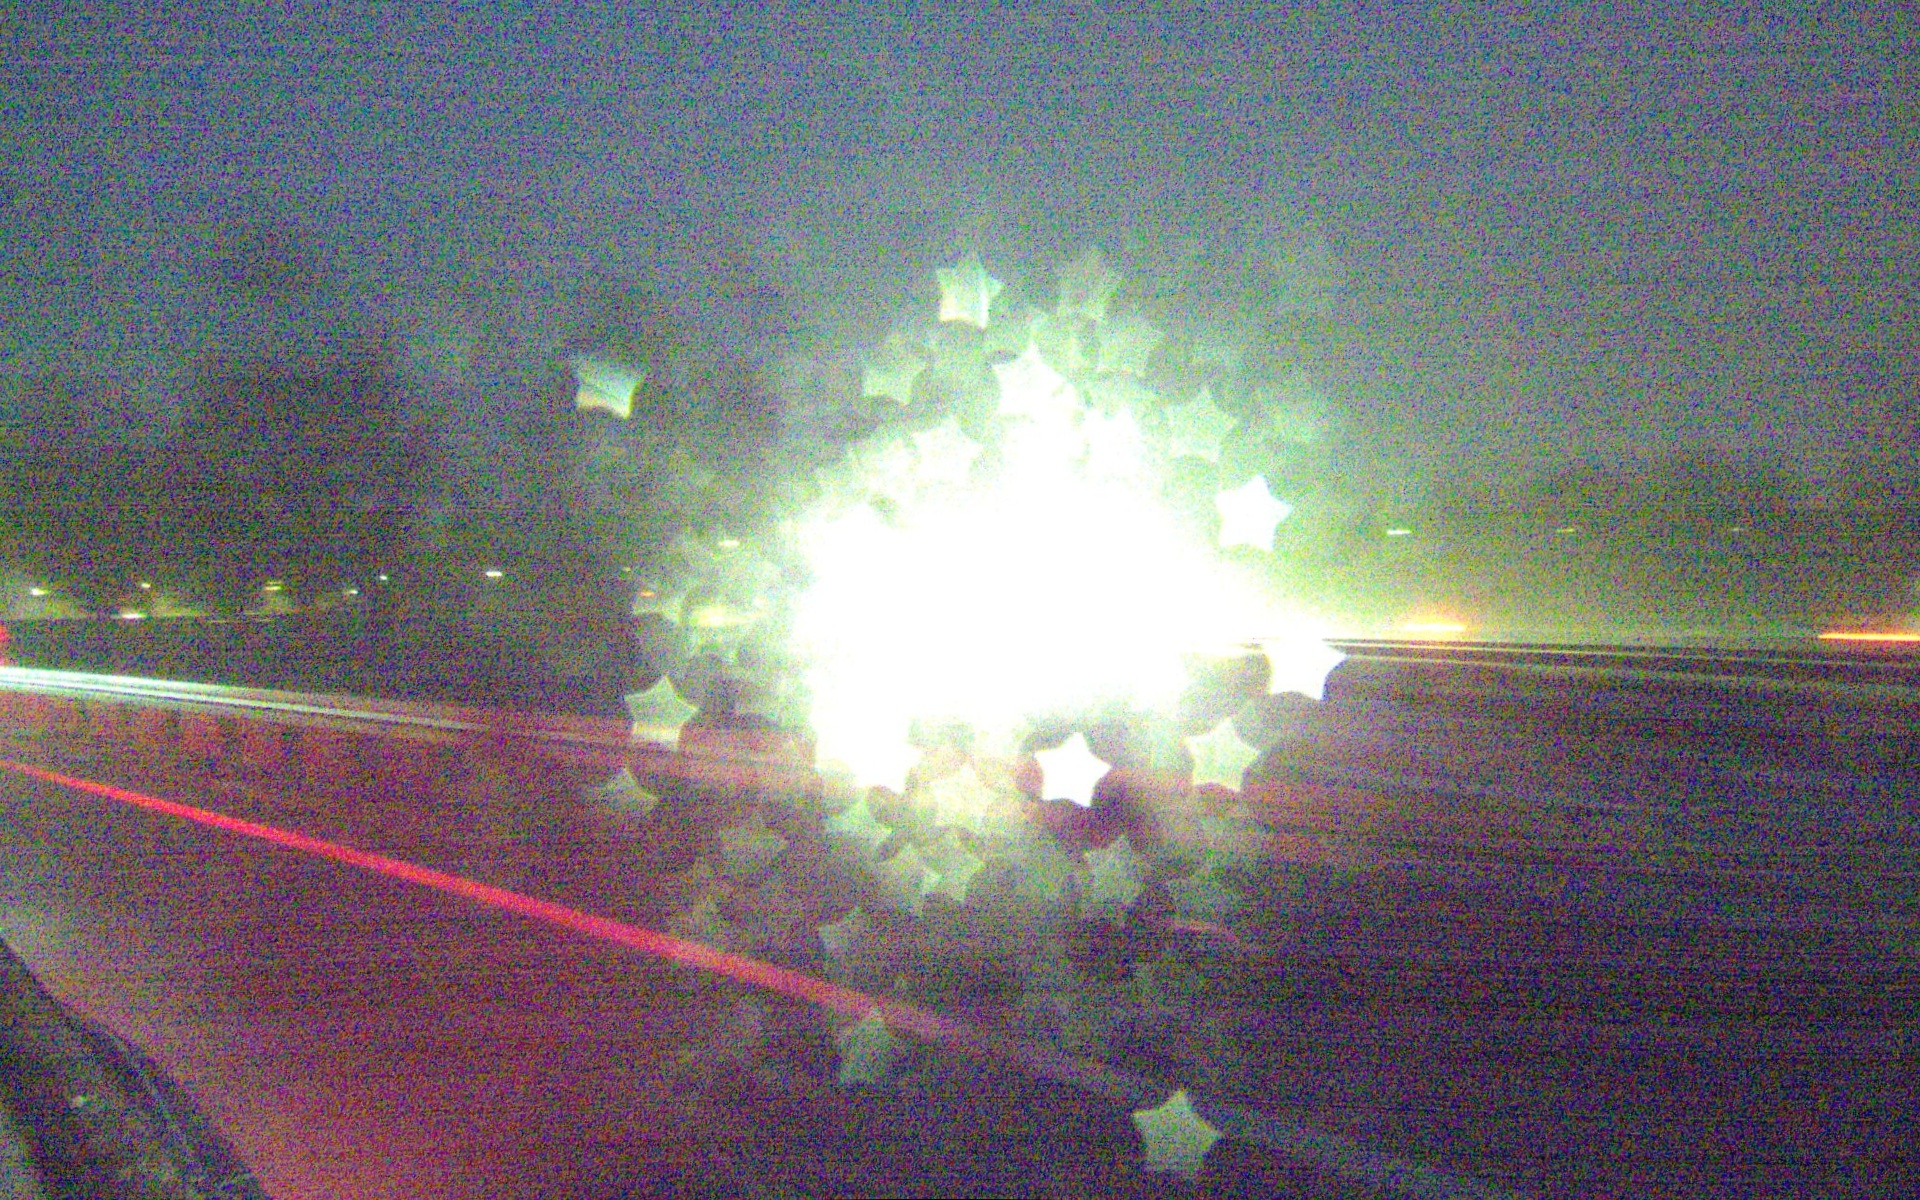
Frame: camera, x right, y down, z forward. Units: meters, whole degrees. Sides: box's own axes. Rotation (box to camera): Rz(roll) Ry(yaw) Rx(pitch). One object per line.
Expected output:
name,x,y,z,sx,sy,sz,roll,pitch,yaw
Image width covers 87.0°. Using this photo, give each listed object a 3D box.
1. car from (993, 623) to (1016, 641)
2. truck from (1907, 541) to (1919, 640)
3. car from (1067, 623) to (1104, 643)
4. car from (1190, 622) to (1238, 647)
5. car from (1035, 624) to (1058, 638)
car,5.484,3.904,125.094,1.968,2.029,4.007,-2,0,-8
truck,41.148,-0.441,39.310,2.734,4.059,5.760,-2,-1,-10
car,10.543,2.780,85.428,1.891,1.608,4.010,0,-1,-13
car,16.981,2.297,67.936,1.700,1.608,4.007,0,-1,-9
car,10.298,3.730,120.700,1.892,1.608,4.007,0,-1,-9
